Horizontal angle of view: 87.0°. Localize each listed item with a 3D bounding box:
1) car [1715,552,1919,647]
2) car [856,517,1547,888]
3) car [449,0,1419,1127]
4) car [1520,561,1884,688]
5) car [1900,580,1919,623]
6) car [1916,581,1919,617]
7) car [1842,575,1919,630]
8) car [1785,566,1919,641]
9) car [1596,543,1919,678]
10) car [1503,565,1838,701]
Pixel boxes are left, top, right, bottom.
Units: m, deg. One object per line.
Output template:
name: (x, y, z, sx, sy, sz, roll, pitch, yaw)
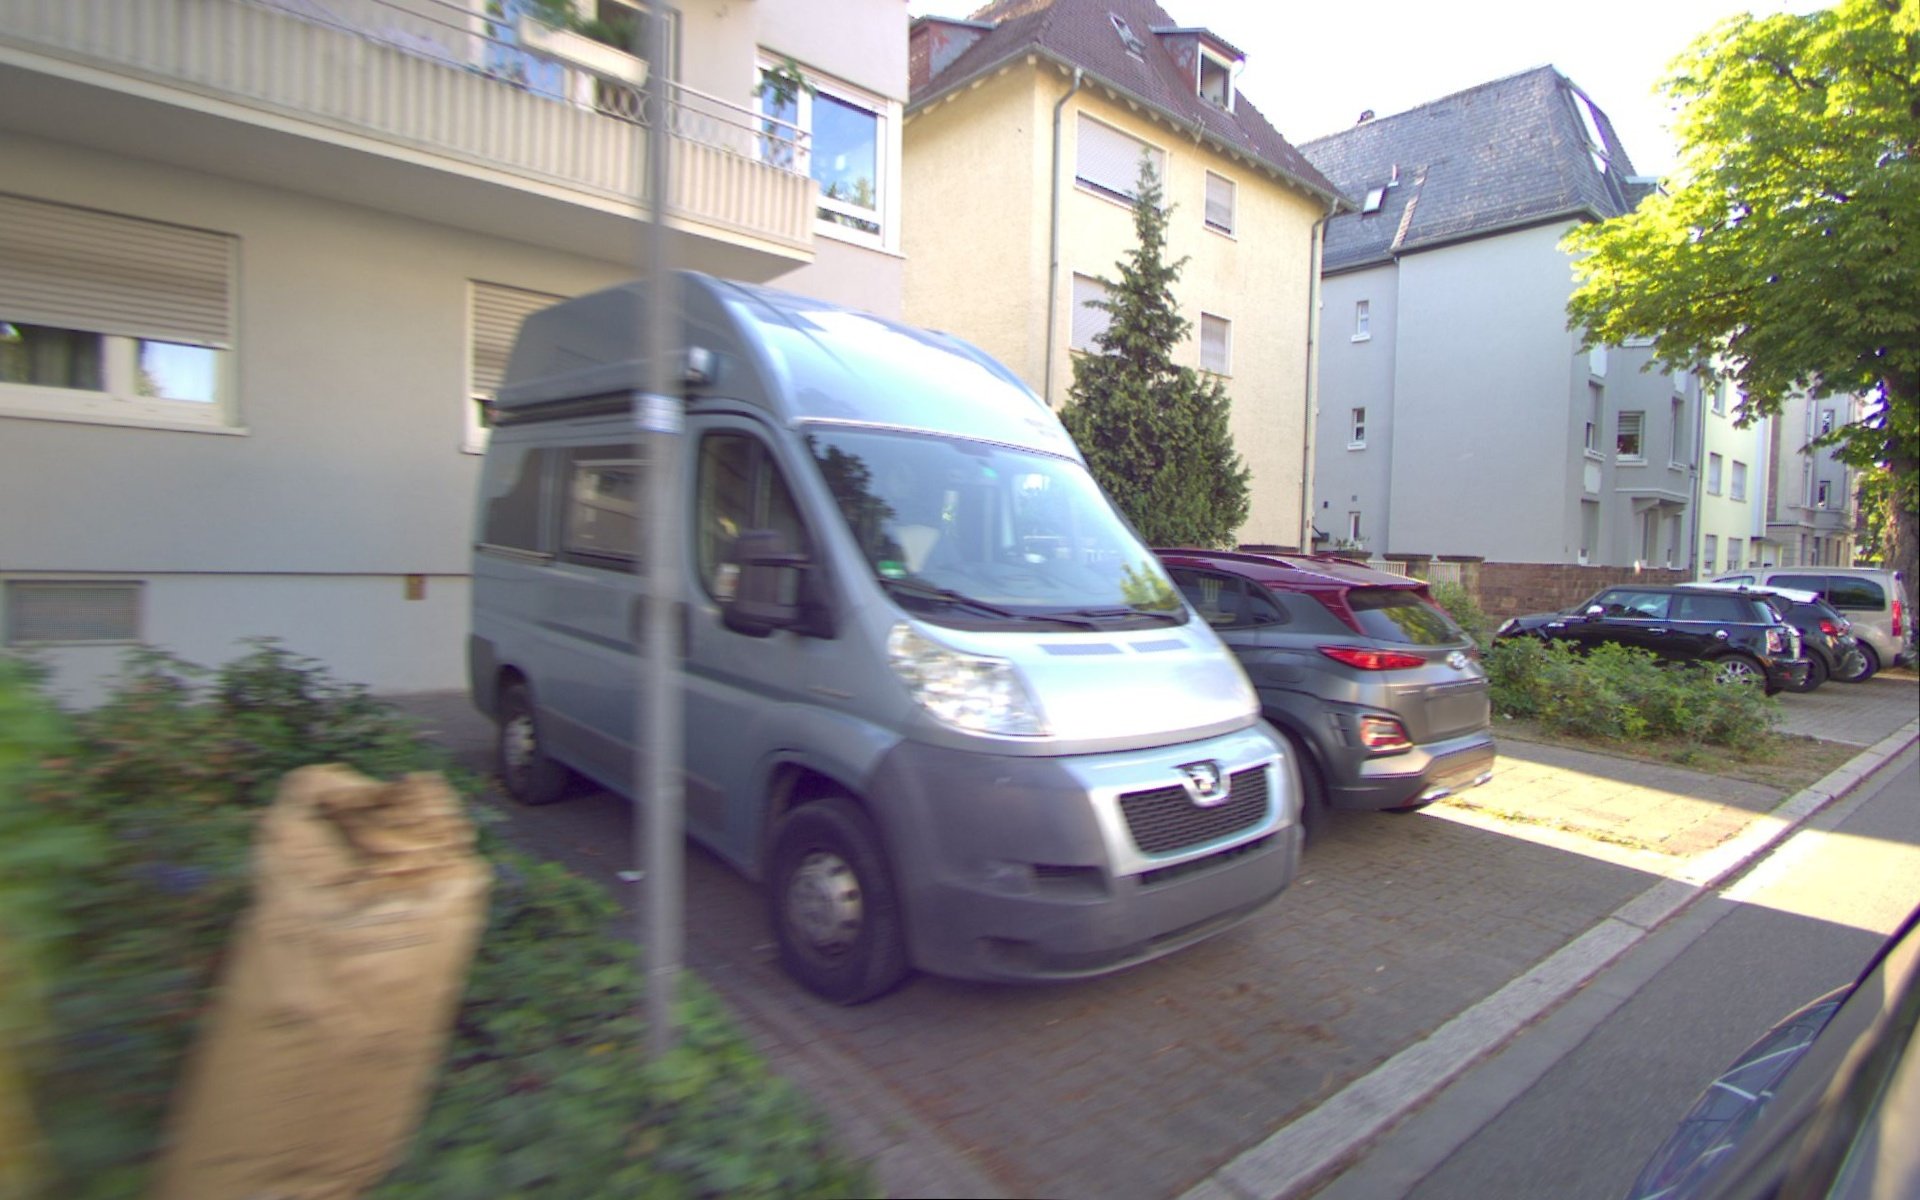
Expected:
car: (21.125, -0.037, 23.963, 1.915, 1.960, 4.820, 0, 4, -39)
car: (1.262, 0.342, 6.764, 1.728, 1.587, 4.199, 0, 5, -41)
car: (-0.754, -0.304, 5.139, 2.040, 2.937, 5.106, 0, 4, -41)
car: (11.481, 0.266, 15.903, 1.729, 1.559, 4.308, 0, 4, -43)
car: (34.601, 0.155, 34.367, 1.573, 1.459, 3.681, 0, 4, -40)
car: (42.032, 0.072, 41.574, 1.573, 1.503, 3.826, 0, 4, -40)
car: (28.739, 0.136, 29.974, 1.646, 1.515, 3.681, 0, 4, -40)
car: (23.952, 0.111, 25.739, 1.758, 1.725, 4.213, 0, 4, -36)
car: (13.690, 0.056, 17.404, 1.729, 1.907, 4.308, -1, 5, -43)
car: (9.728, 0.351, 14.032, 1.728, 1.444, 3.412, 0, 5, -40)
